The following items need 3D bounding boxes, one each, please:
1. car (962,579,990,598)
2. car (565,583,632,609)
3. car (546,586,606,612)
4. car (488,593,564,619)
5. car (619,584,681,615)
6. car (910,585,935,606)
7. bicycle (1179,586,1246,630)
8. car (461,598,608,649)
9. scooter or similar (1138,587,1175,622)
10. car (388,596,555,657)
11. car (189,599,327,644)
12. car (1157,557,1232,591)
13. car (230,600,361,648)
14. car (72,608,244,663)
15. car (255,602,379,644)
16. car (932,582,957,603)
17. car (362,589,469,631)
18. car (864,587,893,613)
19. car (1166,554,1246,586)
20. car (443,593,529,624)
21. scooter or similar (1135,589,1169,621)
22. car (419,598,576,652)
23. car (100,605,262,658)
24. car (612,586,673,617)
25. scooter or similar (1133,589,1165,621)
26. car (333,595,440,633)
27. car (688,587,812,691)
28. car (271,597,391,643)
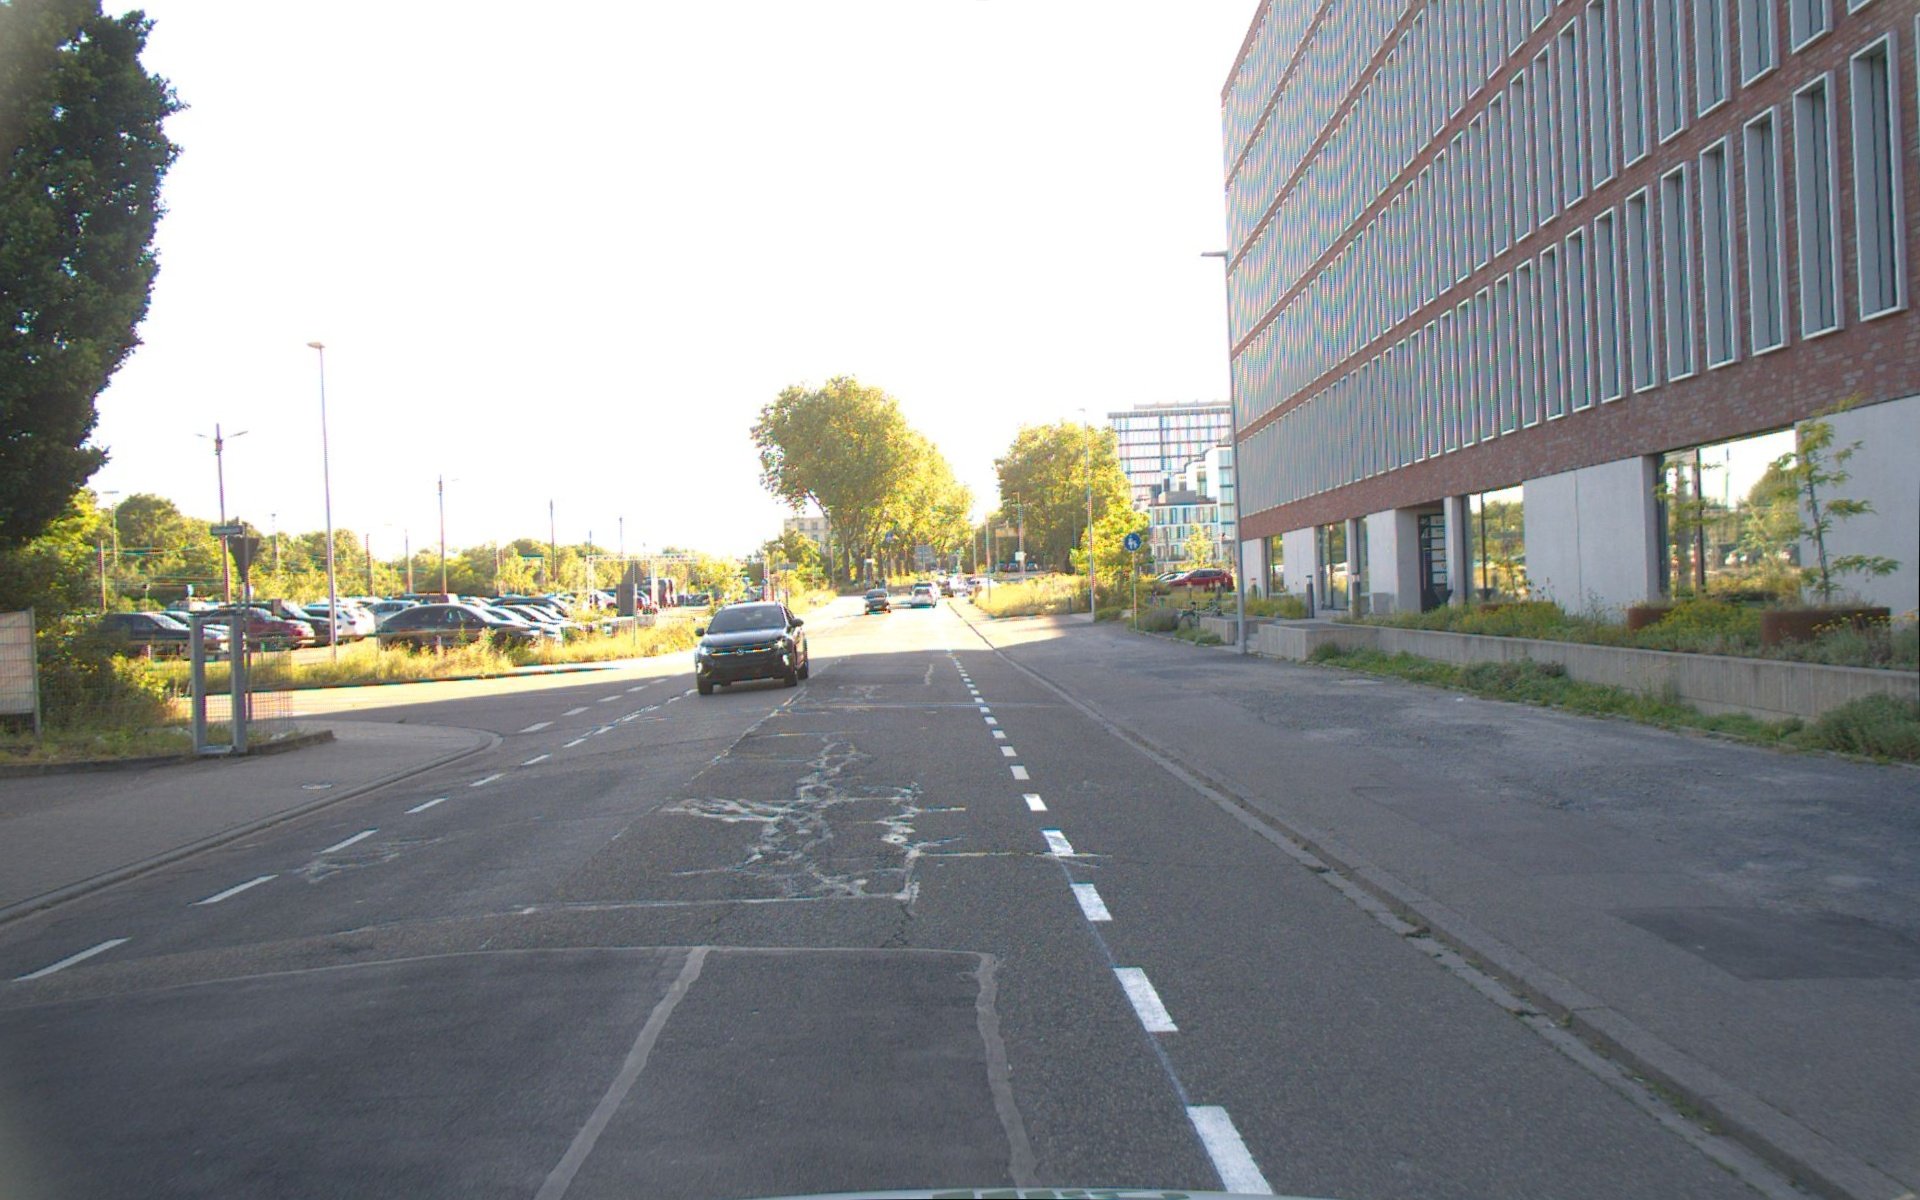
[{"bbox_3d":[1.505,-1.082,152.548,2.117,1.713,4.003,-1,0,7],"label":"car"},{"bbox_3d":[-27.106,-0.303,124.028,4.485,1.771,2.059,-1,1,2],"label":"car"},{"bbox_3d":[-27.086,-0.079,116.770,3.805,1.631,1.878,-2,1,-2],"label":"car"},{"bbox_3d":[-27.041,0.376,103.173,4.235,1.444,1.878,-2,1,-2],"label":"car"},{"bbox_3d":[-27.210,-0.046,145.291,4.994,2.502,2.319,-2,1,-2],"label":"car"},{"bbox_3d":[-2.689,-0.336,118.194,1.754,1.445,3.998,-1,0,-2],"label":"car"},{"bbox_3d":[7.558,0.230,49.459,1.895,1.190,0.374,-4,0,-8],"label":"bicycle"},{"bbox_3d":[-14.241,0.771,55.551,4.338,1.487,2.048,-2,1,0],"label":"car"},{"bbox_3d":[7.256,0.171,61.068,1.312,1.267,0.424,-1,0,3],"label":"scooter or similar"},{"bbox_3d":[-14.537,0.774,49.399,4.338,1.608,2.048,-2,1,0],"label":"car"},{"bbox_3d":[-25.208,0.745,59.527,4.079,1.421,2.046,-2,1,-5],"label":"car"},{"bbox_3d":[13.763,-1.518,97.249,4.097,1.608,1.851,-2,-5,2],"label":"car"},{"bbox_3d":[-25.094,0.873,62.574,4.079,1.606,2.046,-2,1,-5],"label":"car"},{"bbox_3d":[-24.957,1.089,51.579,4.317,1.490,2.046,-2,1,-5],"label":"car"},{"bbox_3d":[-25.235,0.883,65.015,4.079,1.421,2.046,-2,1,-5],"label":"car"},{"bbox_3d":[-1.384,-0.651,147.053,2.119,1.713,4.000,-2,0,0],"label":"car"},{"bbox_3d":[-26.105,0.477,79.383,4.483,1.836,1.857,-2,1,-1],"label":"car"},{"bbox_3d":[-5.168,-0.006,105.703,1.620,1.529,4.000,-3,0,0],"label":"car"},{"bbox_3d":[13.433,-1.642,90.435,4.097,1.608,1.852,-2,1,2],"label":"car"},{"bbox_3d":[-26.537,0.469,92.685,4.234,1.550,1.878,-2,1,-1],"label":"car"},{"bbox_3d":[7.263,0.175,62.626,1.217,1.176,0.366,-1,0,3],"label":"scooter or similar"},{"bbox_3d":[-14.576,0.783,52.303,4.338,1.487,2.048,-2,1,0],"label":"car"},{"bbox_3d":[-25.517,1.017,54.294,4.317,1.490,2.046,-2,1,-5],"label":"car"},{"bbox_3d":[-27.365,0.112,142.594,4.827,2.502,2.319,-1,0,-2],"label":"car"},{"bbox_3d":[7.328,0.177,64.121,1.217,1.216,0.340,-1,0,3],"label":"scooter or similar"},{"bbox_3d":[-26.645,0.638,76.988,4.278,1.572,1.857,-2,1,-1],"label":"car"},{"bbox_3d":[-3.719,0.643,29.909,1.706,1.552,4.110,-6,1,-2],"label":"car"},{"bbox_3d":[-25.567,0.795,67.315,4.079,1.691,1.965,-2,1,-4],"label":"car"}]
